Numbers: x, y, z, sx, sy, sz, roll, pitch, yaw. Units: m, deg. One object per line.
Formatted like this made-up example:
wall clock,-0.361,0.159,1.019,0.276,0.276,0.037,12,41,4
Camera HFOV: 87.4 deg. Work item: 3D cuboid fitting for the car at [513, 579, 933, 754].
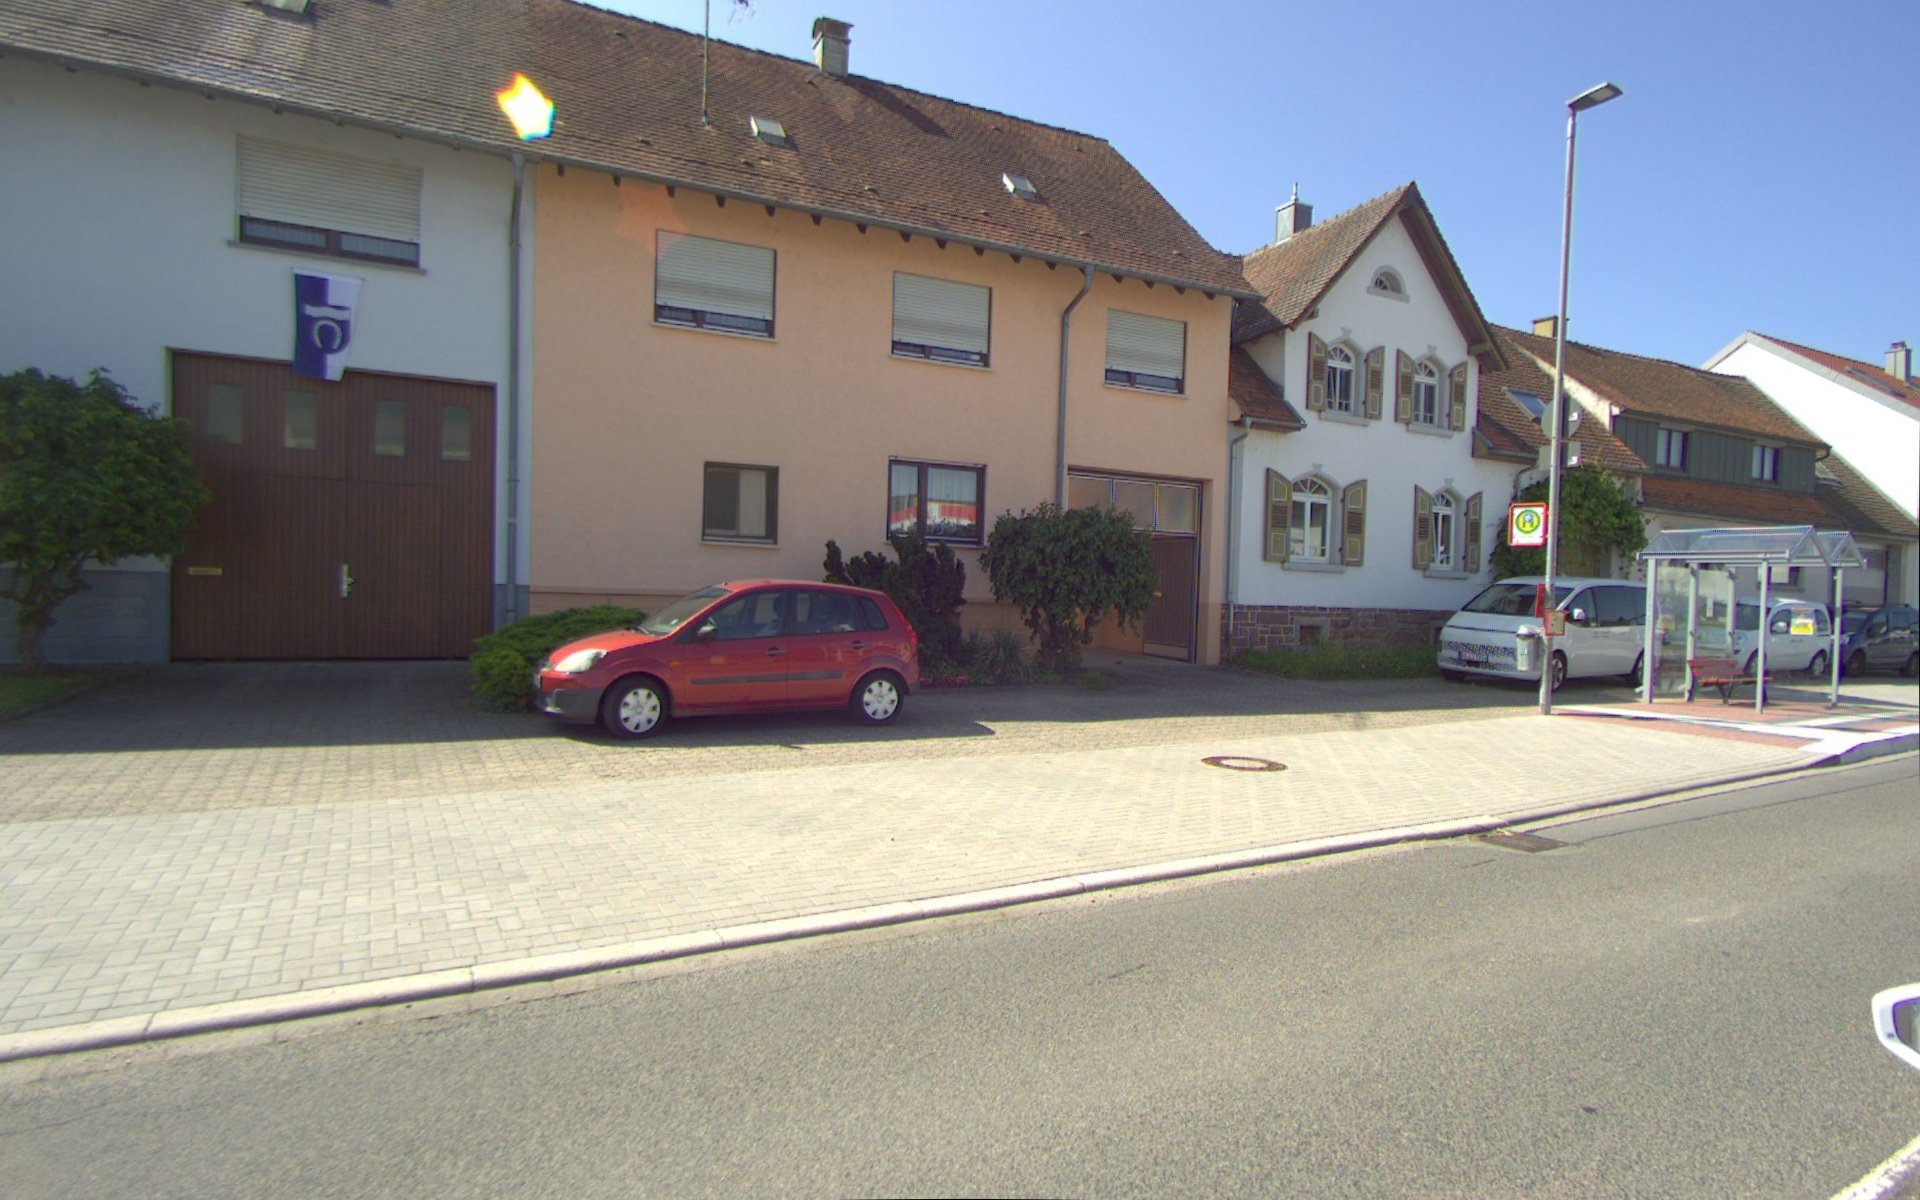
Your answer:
car,-2.376,0.549,10.270,3.869,1.473,1.706,0,2,-31

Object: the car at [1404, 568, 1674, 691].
car,10.883,0.541,18.781,5.206,2.013,2.115,2,0,-32

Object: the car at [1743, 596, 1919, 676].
car,22.281,0.912,25.568,4.282,1.817,1.832,2,2,-24

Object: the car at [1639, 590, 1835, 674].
car,18.129,0.743,23.429,4.222,1.798,1.961,2,0,-27
